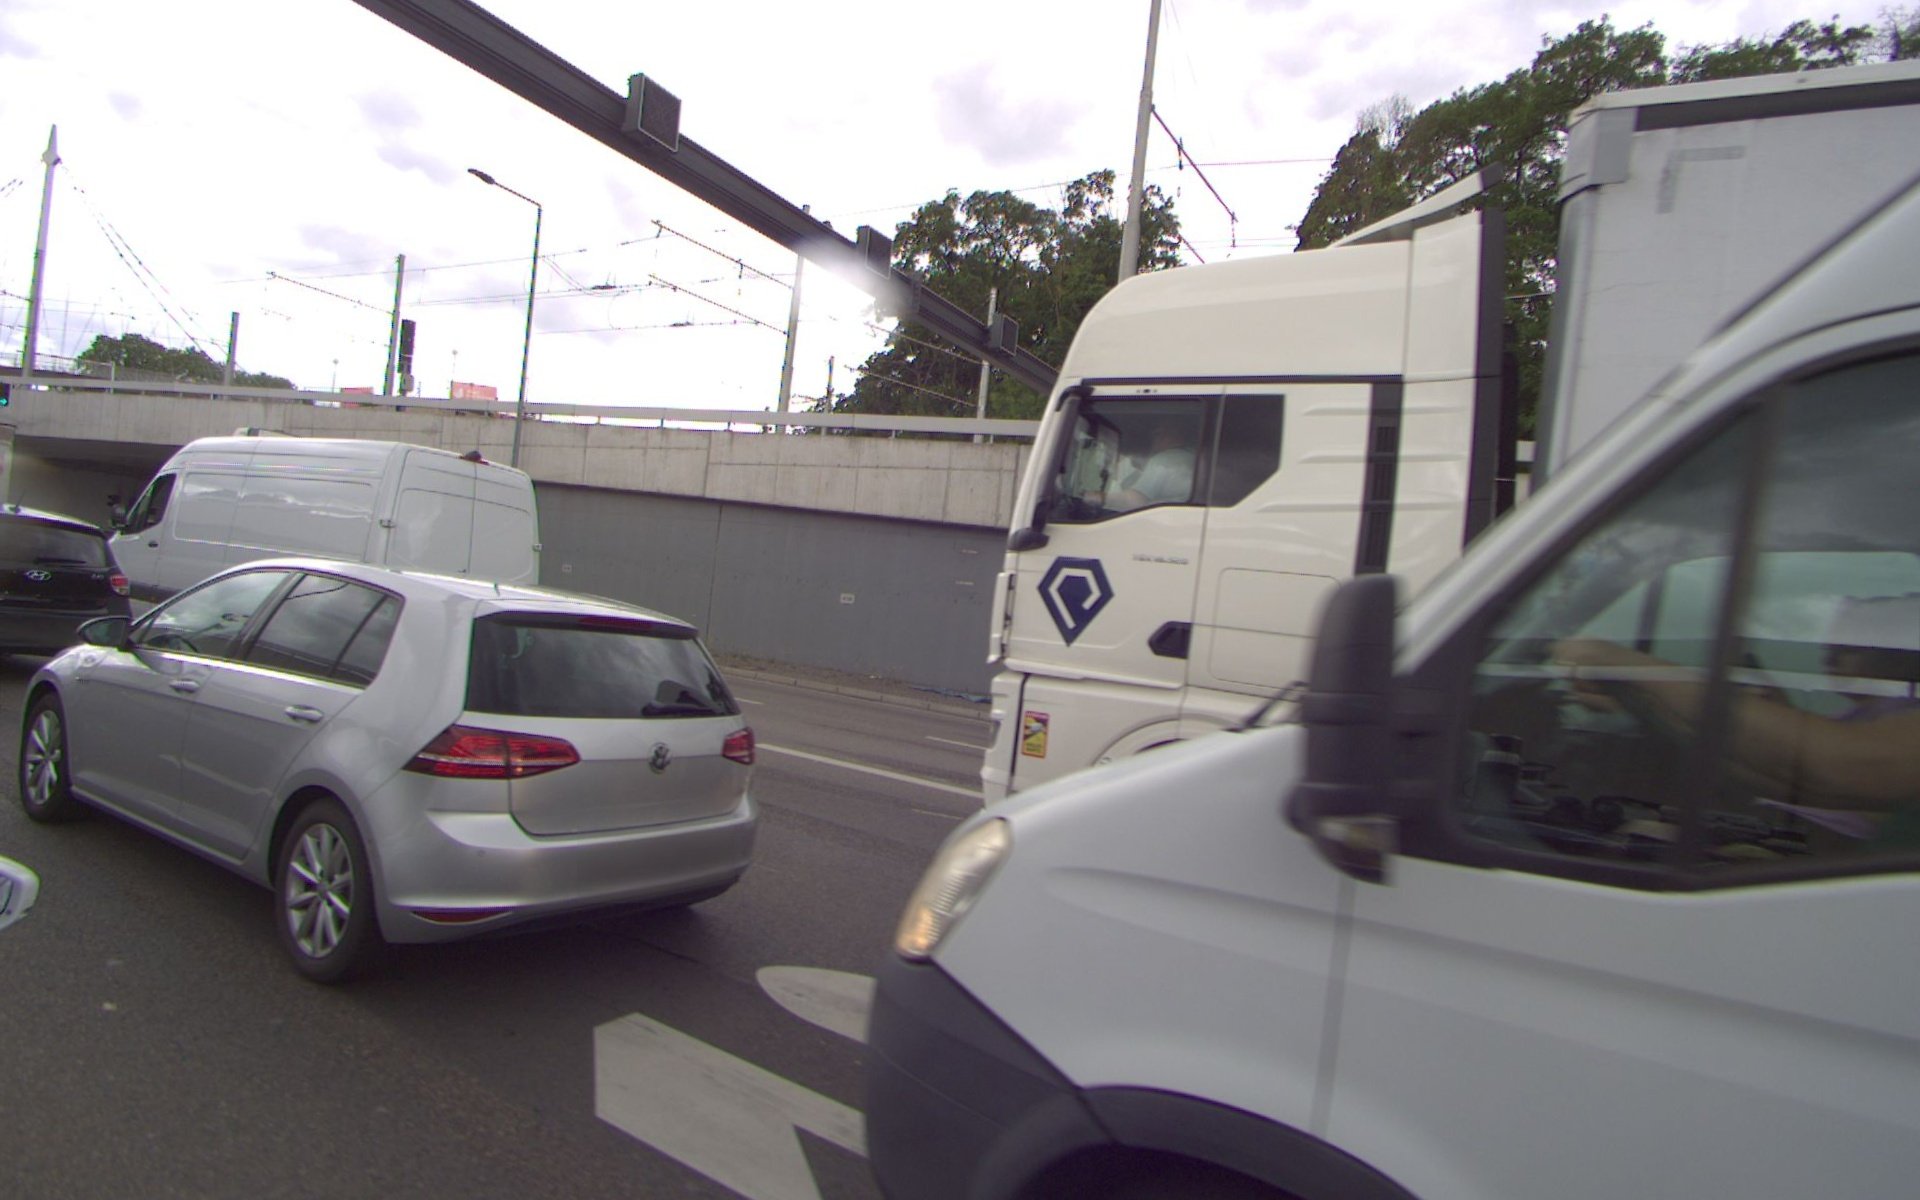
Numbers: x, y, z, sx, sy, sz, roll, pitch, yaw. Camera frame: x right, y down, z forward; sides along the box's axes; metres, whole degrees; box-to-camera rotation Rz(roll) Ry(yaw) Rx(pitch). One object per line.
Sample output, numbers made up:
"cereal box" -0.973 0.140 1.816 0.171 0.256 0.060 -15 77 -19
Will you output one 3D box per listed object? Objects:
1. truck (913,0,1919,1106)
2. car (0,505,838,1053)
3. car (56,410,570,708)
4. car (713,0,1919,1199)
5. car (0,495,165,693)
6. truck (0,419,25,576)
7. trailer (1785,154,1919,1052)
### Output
"truck" 4.080 -0.392 5.609 7.318 4.685 3.813 6 -2 31
"car" -2.756 0.505 4.798 3.971 1.400 1.766 8 0 32
"car" -8.101 -0.651 12.213 7.203 2.807 2.078 7 0 31
"car" 2.666 0.546 1.334 5.844 2.655 2.064 7 -3 32
"car" -9.158 -0.225 9.092 3.629 1.562 1.686 7 -2 29
"truck" -23.680 -2.515 22.005 7.303 3.224 2.653 6 -1 31
"trailer" 9.898 0.256 2.011 11.912 4.685 3.813 6 -2 31
